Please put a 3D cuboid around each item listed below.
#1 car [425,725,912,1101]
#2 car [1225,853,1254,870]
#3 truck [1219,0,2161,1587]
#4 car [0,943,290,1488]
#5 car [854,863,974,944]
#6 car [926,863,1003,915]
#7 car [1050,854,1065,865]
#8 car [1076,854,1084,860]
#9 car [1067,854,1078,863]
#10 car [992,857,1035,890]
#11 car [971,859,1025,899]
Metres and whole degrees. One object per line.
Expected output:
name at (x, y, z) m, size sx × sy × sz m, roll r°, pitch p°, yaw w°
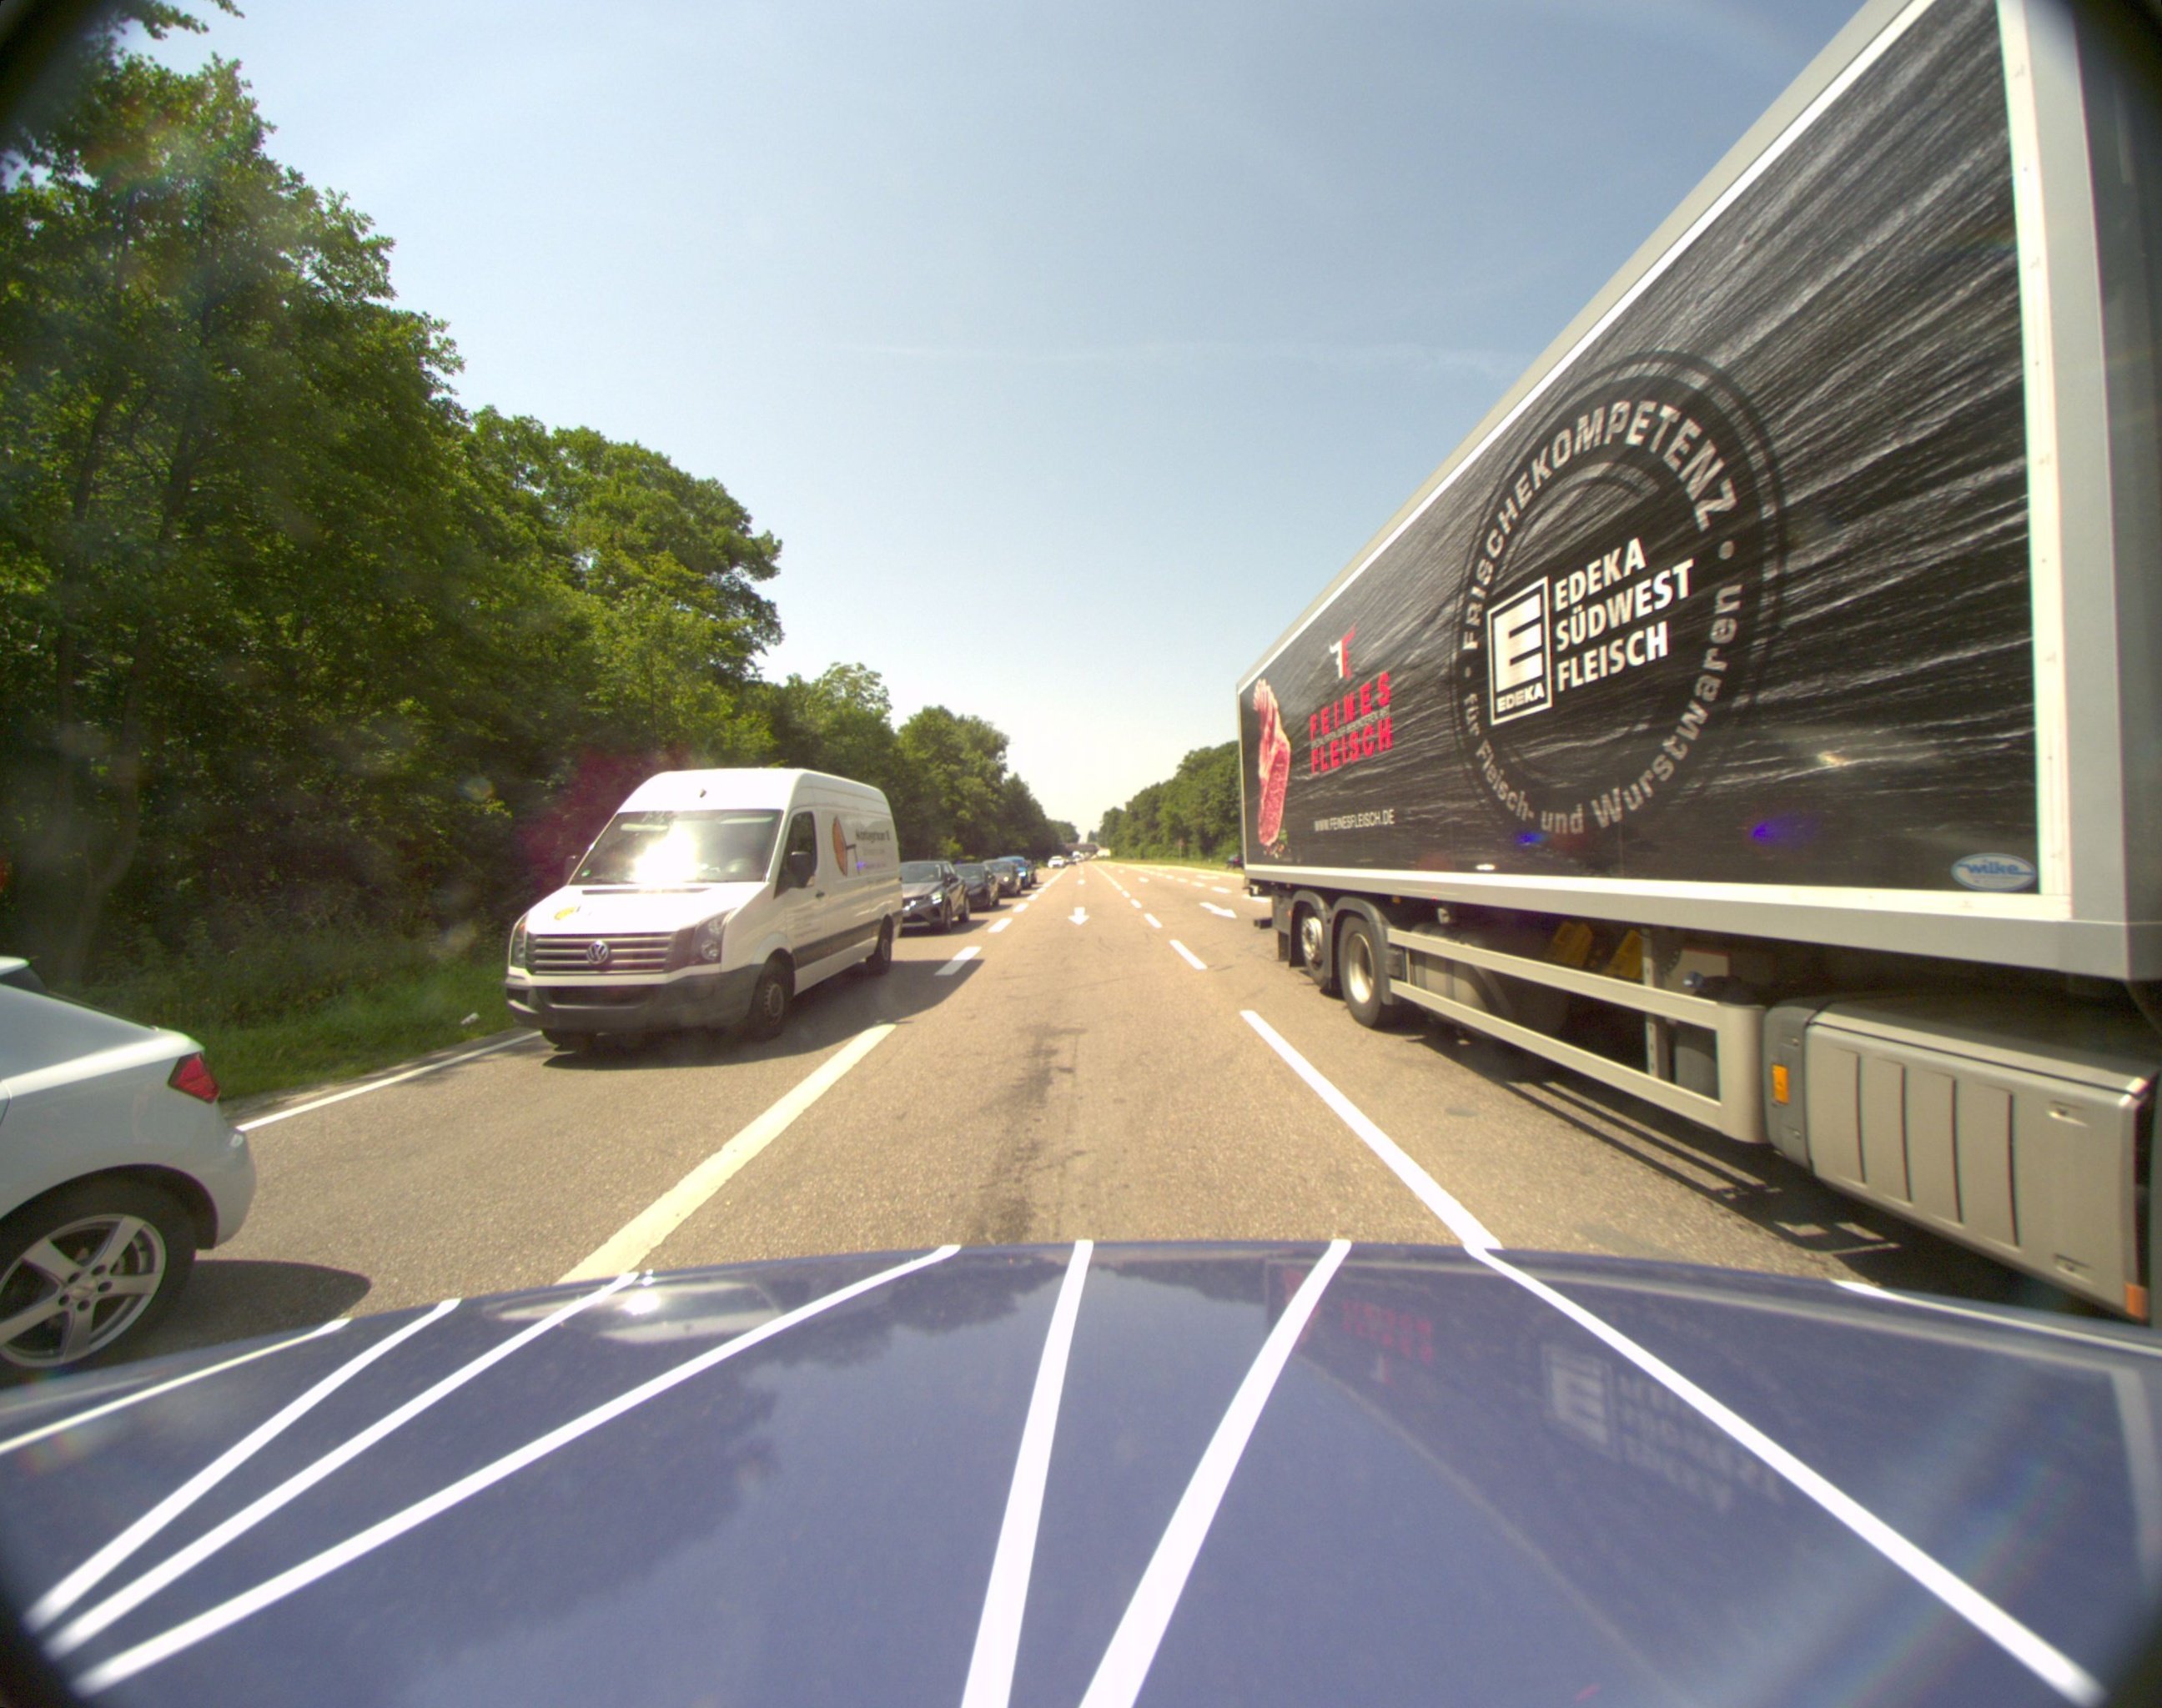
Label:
car at (-3.634, 0.429, 8.490) m, size 1.974 × 2.629 × 6.060 m, roll -2°, pitch 0°, yaw 1°
car at (15.698, 0.703, 75.461) m, size 1.999 × 1.543 × 3.999 m, roll -2°, pitch 1°, yaw 0°
truck at (3.491, -0.464, 5.030) m, size 2.753 × 3.862 × 11.318 m, roll -2°, pitch 0°, yaw -1°
car at (-3.945, 1.096, 0.876) m, size 1.693 × 1.427 × 4.001 m, roll -3°, pitch 0°, yaw 3°
car at (-3.615, 1.007, 17.188) m, size 1.796 × 1.452 × 4.228 m, roll -2°, pitch 0°, yaw -1°
car at (-3.490, 1.006, 23.510) m, size 1.796 × 1.348 × 4.228 m, roll -1°, pitch 0°, yaw -1°
car at (-3.050, 0.684, 98.740) m, size 1.796 × 1.431 × 4.228 m, roll 0°, pitch 0°, yaw -1°
car at (-0.269, 0.690, 173.774) m, size 1.796 × 1.431 × 4.228 m, roll -1°, pitch 0°, yaw -1°
car at (-1.451, 0.726, 132.789) m, size 1.796 × 1.431 × 4.228 m, roll -1°, pitch 0°, yaw -1°
car at (-3.234, 0.904, 37.211) m, size 1.796 × 1.431 × 4.228 m, roll -1°, pitch 0°, yaw -1°
car at (-3.307, 0.965, 30.868) m, size 1.796 × 1.431 × 4.228 m, roll -1°, pitch 0°, yaw -1°
